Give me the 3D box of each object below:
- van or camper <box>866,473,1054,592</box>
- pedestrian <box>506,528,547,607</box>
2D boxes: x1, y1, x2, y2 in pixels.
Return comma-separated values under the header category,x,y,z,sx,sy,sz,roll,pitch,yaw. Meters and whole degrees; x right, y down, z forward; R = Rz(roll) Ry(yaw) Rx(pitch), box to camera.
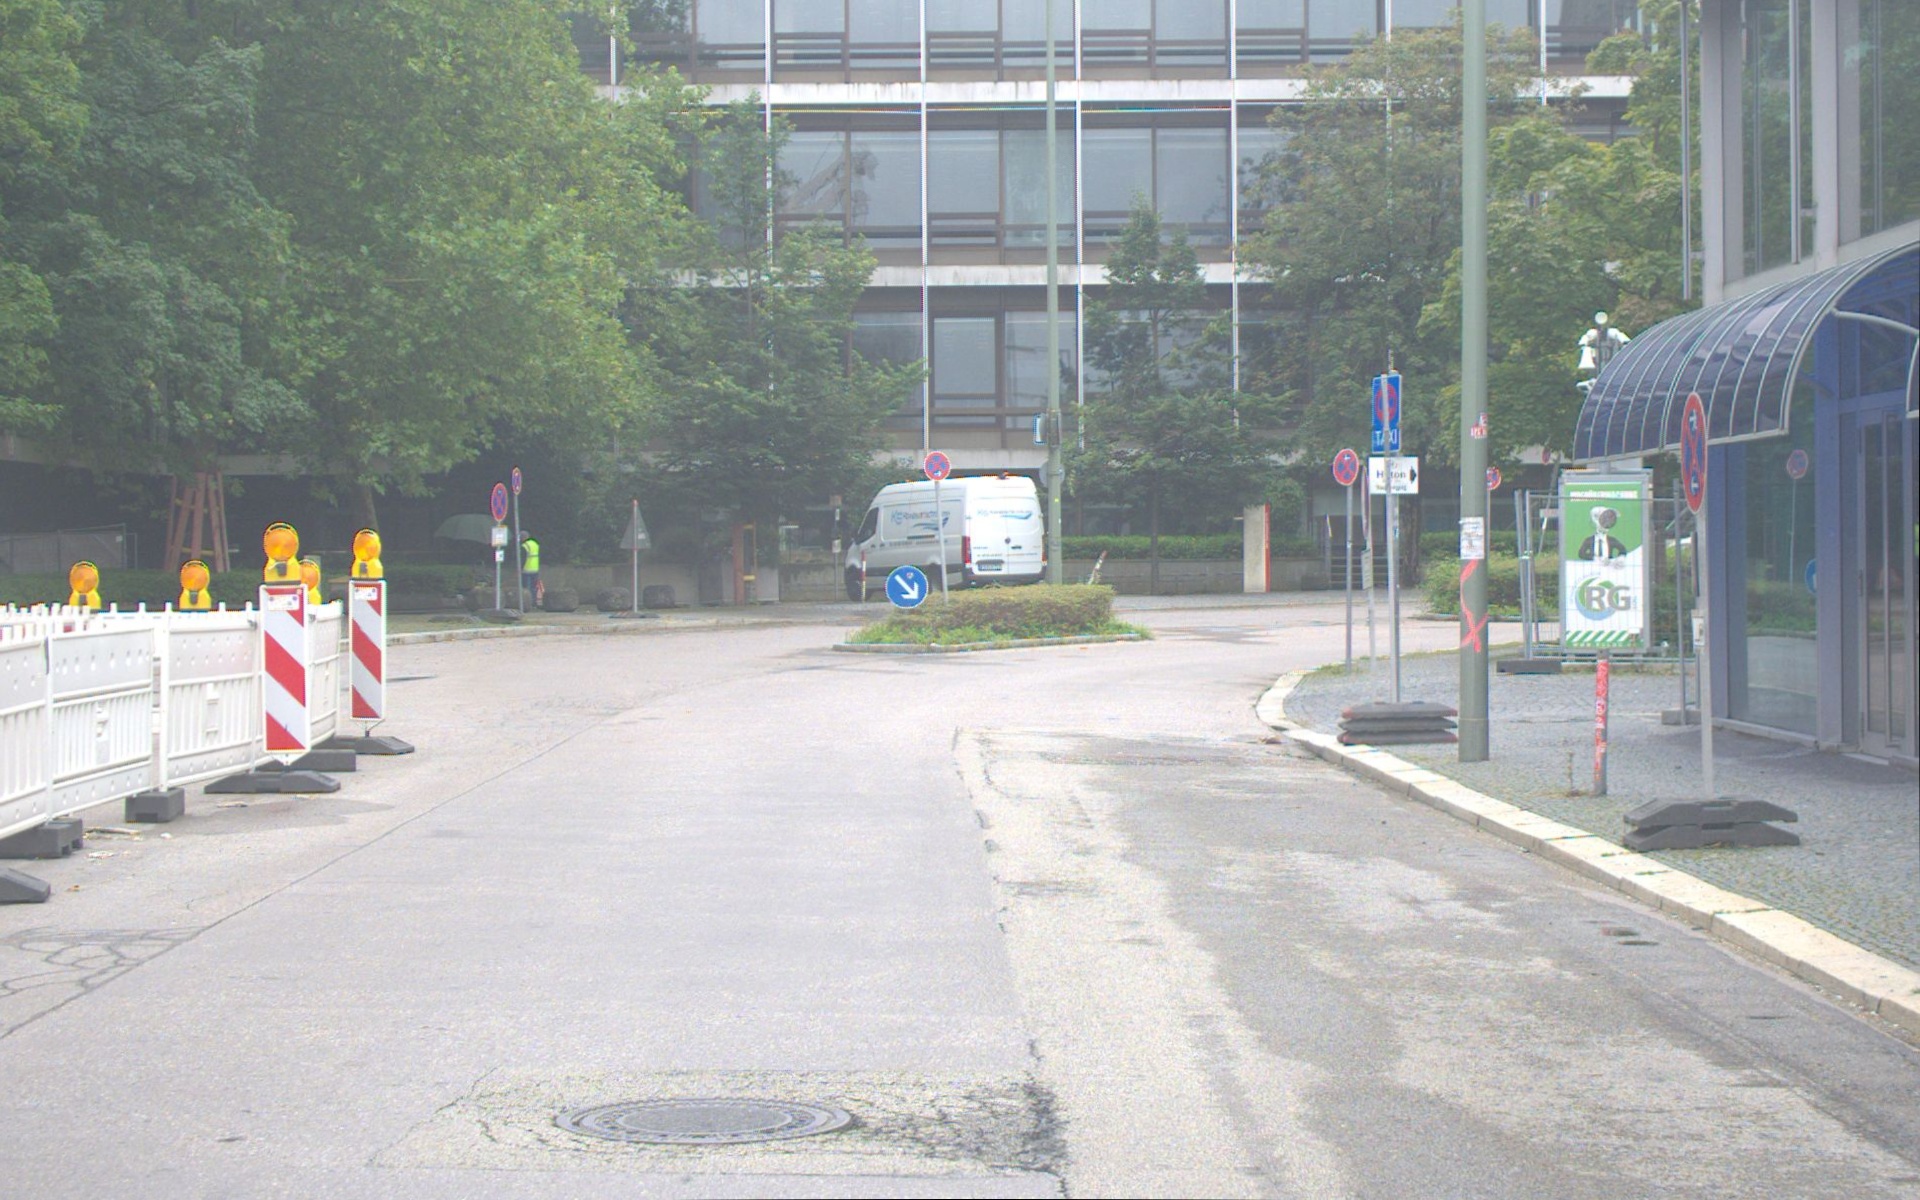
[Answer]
category,x,y,z,sx,sy,sz,roll,pitch,yaw
van or camper,-0.047,-1.467,74.618,2.085,2.483,5.068,-1,1,-26
pedestrian,-9.250,-0.698,73.322,0.741,1.671,0.682,0,1,-19
